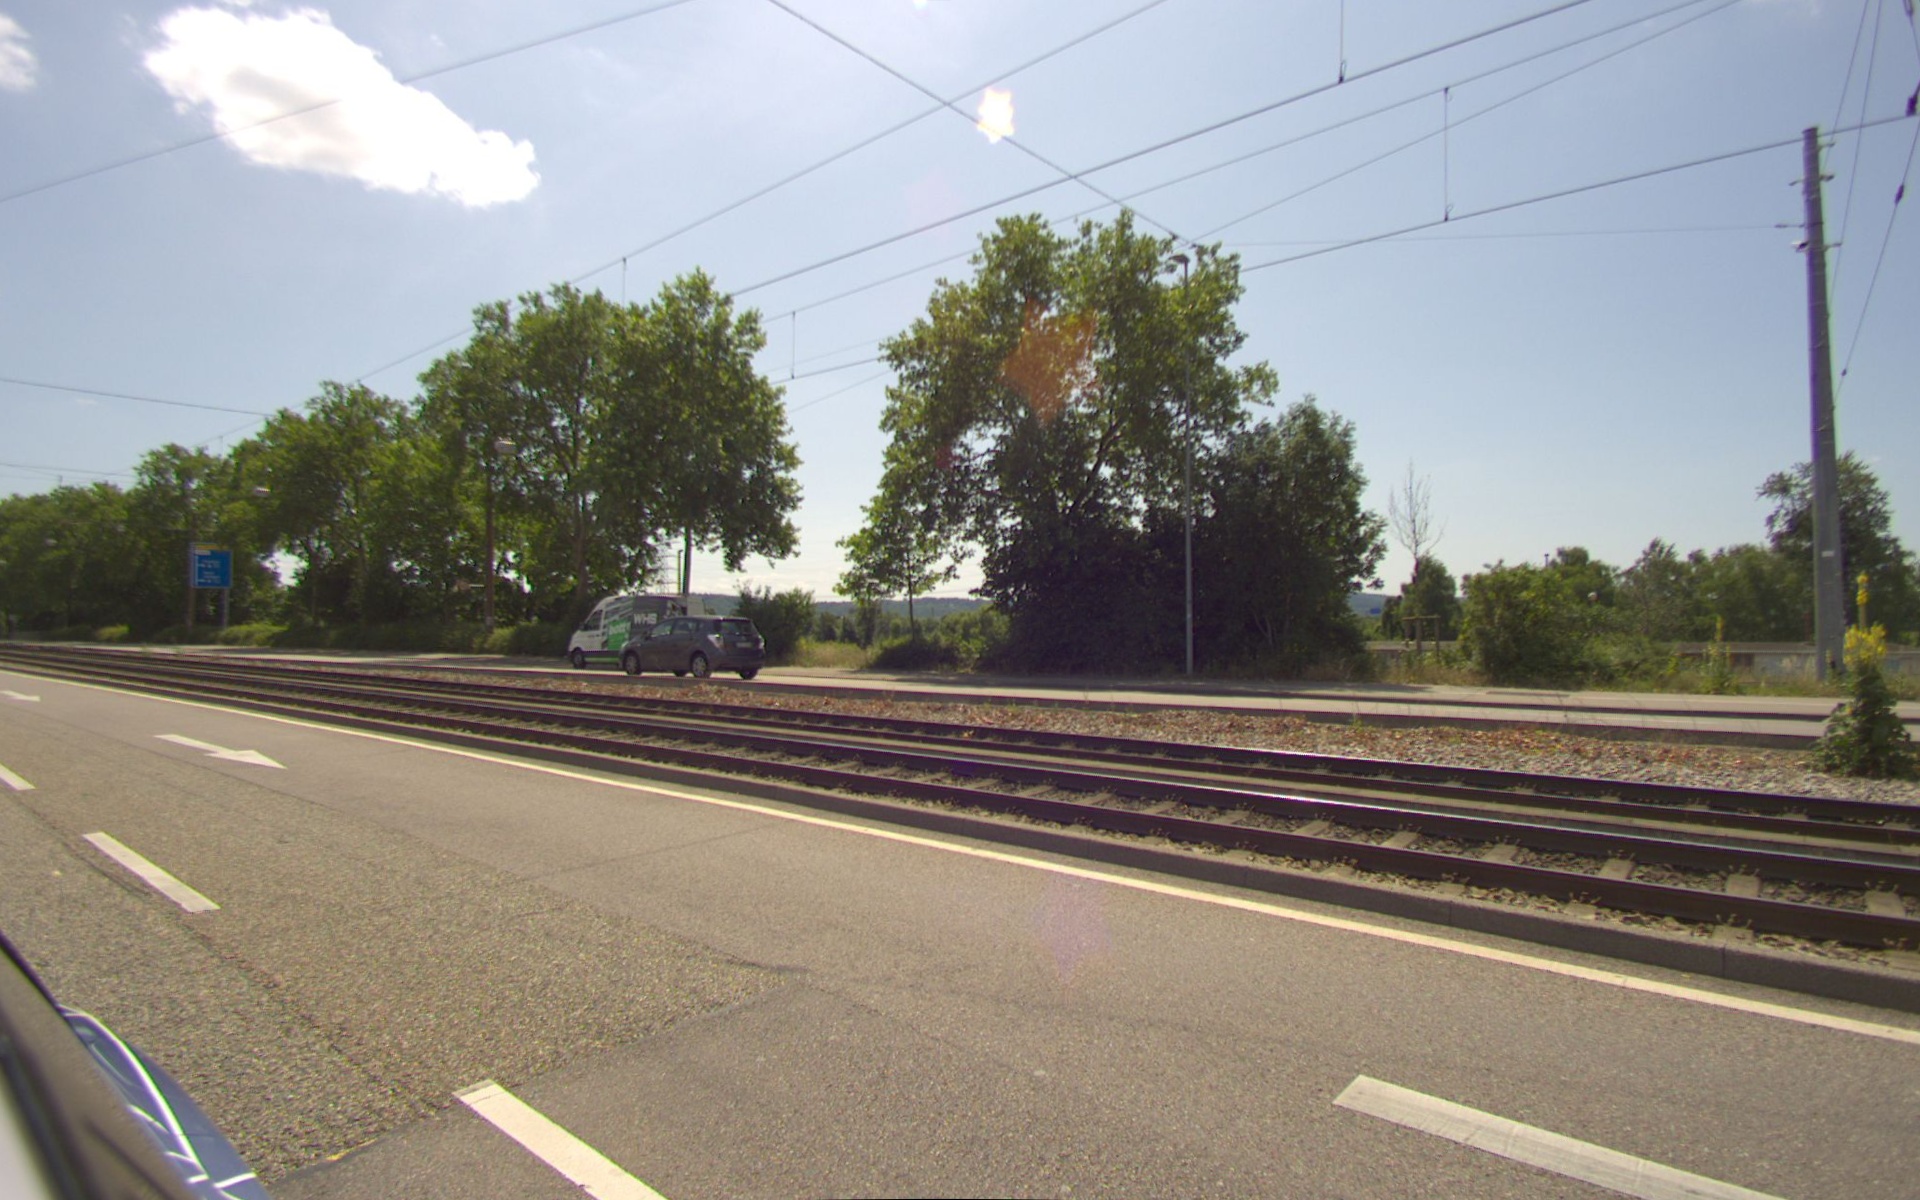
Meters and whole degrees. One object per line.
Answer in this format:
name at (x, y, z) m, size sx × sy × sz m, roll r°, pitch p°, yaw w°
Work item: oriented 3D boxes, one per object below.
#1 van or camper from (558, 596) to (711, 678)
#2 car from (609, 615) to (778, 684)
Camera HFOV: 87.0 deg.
van or camper at (-11.270, 1.276, 34.787) m, size 5.834 × 2.606 × 1.975 m, roll -1°, pitch -3°, yaw 37°
car at (-6.959, 1.282, 26.304) m, size 4.256 × 1.649 × 1.976 m, roll -2°, pitch -4°, yaw 36°
